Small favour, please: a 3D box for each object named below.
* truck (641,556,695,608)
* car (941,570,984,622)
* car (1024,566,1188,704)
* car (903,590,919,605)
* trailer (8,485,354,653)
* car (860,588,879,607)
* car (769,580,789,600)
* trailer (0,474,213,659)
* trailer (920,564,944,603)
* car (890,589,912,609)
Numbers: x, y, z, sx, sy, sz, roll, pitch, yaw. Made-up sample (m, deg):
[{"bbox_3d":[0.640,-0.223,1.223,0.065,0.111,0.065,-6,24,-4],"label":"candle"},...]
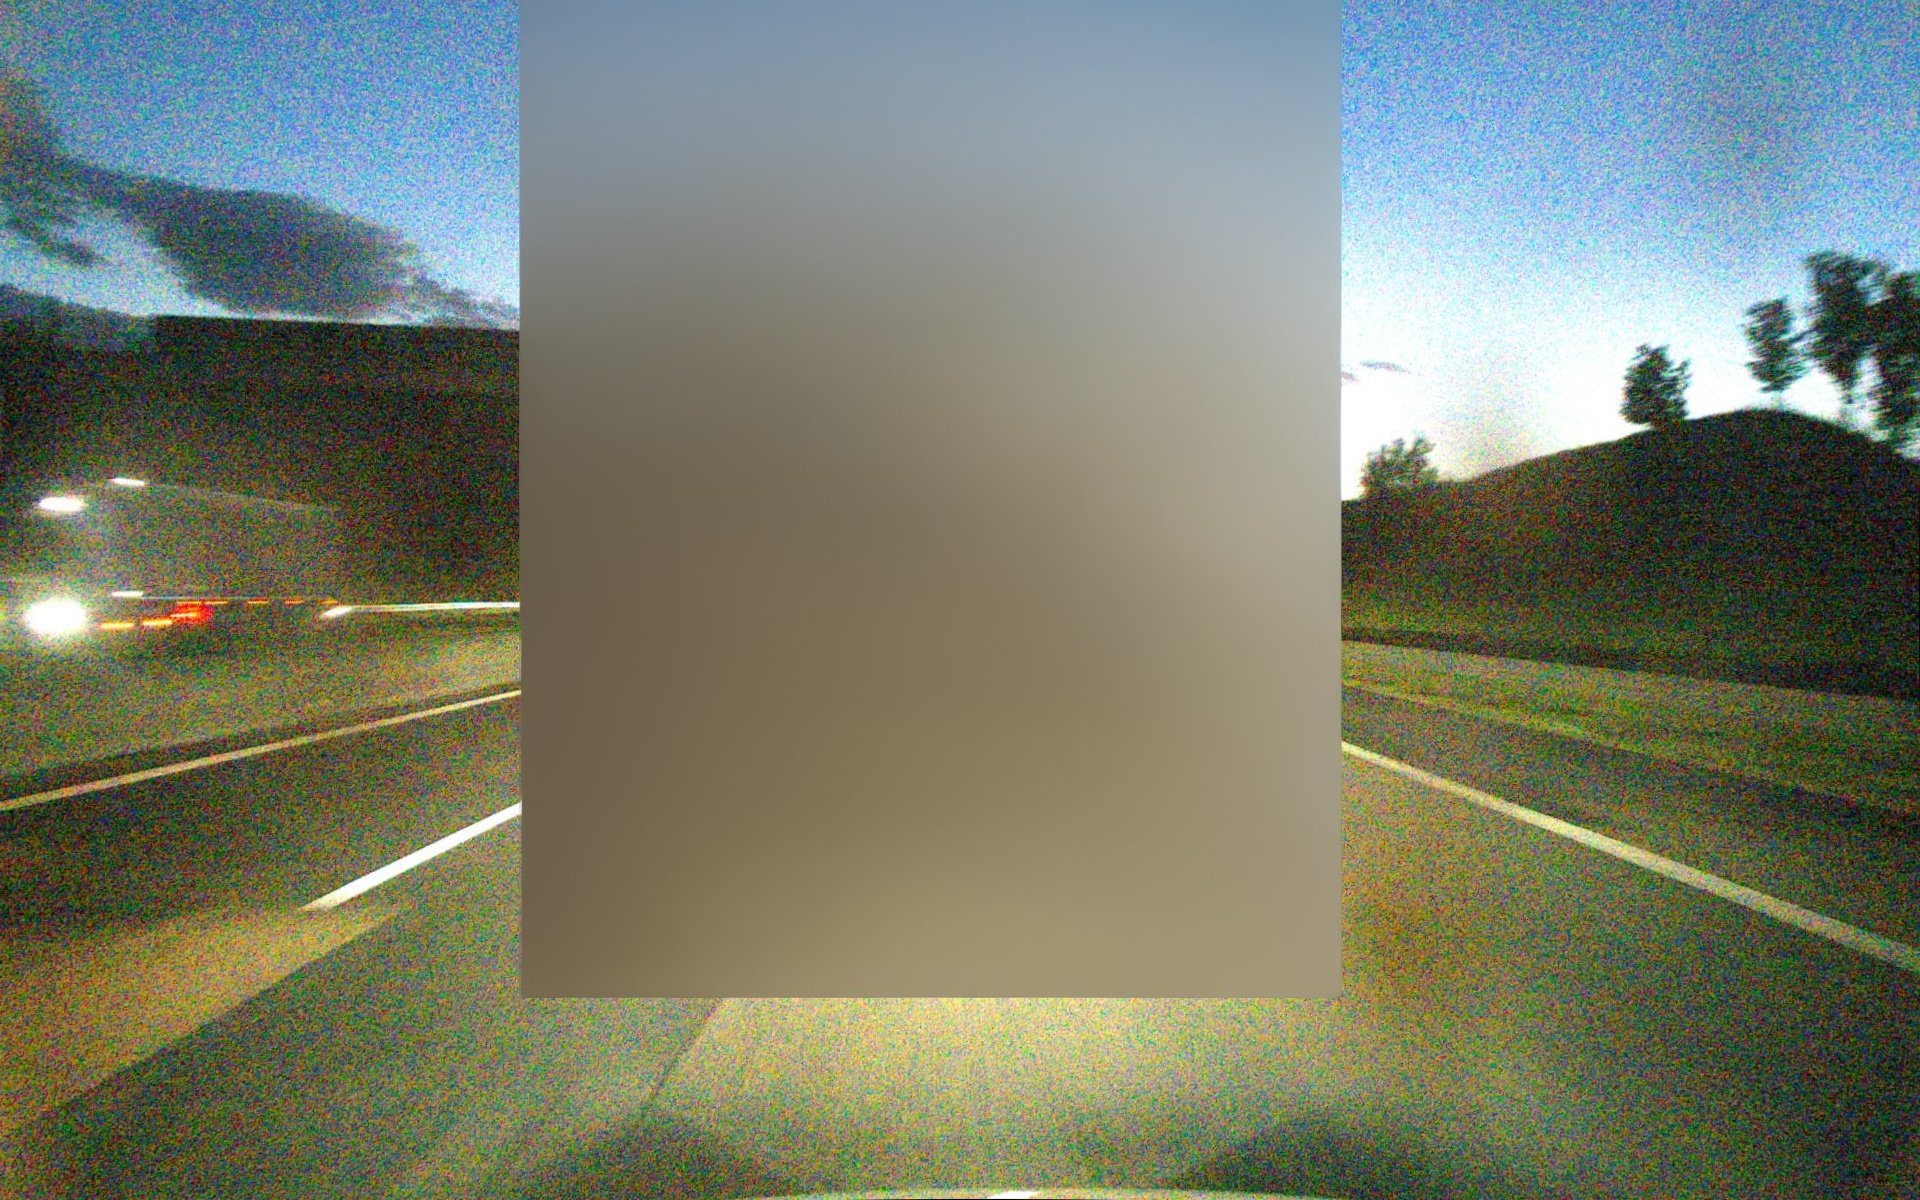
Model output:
[{"bbox_3d":[-22.996,-1.390,130.525,3.361,4.050,6.205,0,0,-2],"label":"truck"},{"bbox_3d":[0.085,-0.220,89.637,1.992,2.693,5.721,0,0,-4],"label":"car"},{"bbox_3d":[2.268,0.506,27.203,2.072,2.036,5.662,0,0,-1],"label":"car"},{"bbox_3d":[-6.981,-0.345,236.831,1.956,2.154,3.993,0,-1,-7],"label":"car"},{"bbox_3d":[-21.394,-0.756,47.014,3.360,4.050,14.046,0,0,-1],"label":"trailer"},{"bbox_3d":[-9.519,-0.255,173.526,1.954,1.848,3.997,0,-1,-3],"label":"car"},{"bbox_3d":[-23.642,-1.267,216.346,2.059,2.561,6.213,0,0,-2],"label":"car"},{"bbox_3d":[-21.292,-0.741,39.784,3.360,4.050,7.351,0,0,-1],"label":"trailer"},{"bbox_3d":[-3.534,-1.922,206.968,2.772,4.331,17.042,0,-1,-1],"label":"trailer"},{"bbox_3d":[-5.792,-0.066,162.191,1.954,1.825,3.995,0,-1,-5],"label":"car"}]
